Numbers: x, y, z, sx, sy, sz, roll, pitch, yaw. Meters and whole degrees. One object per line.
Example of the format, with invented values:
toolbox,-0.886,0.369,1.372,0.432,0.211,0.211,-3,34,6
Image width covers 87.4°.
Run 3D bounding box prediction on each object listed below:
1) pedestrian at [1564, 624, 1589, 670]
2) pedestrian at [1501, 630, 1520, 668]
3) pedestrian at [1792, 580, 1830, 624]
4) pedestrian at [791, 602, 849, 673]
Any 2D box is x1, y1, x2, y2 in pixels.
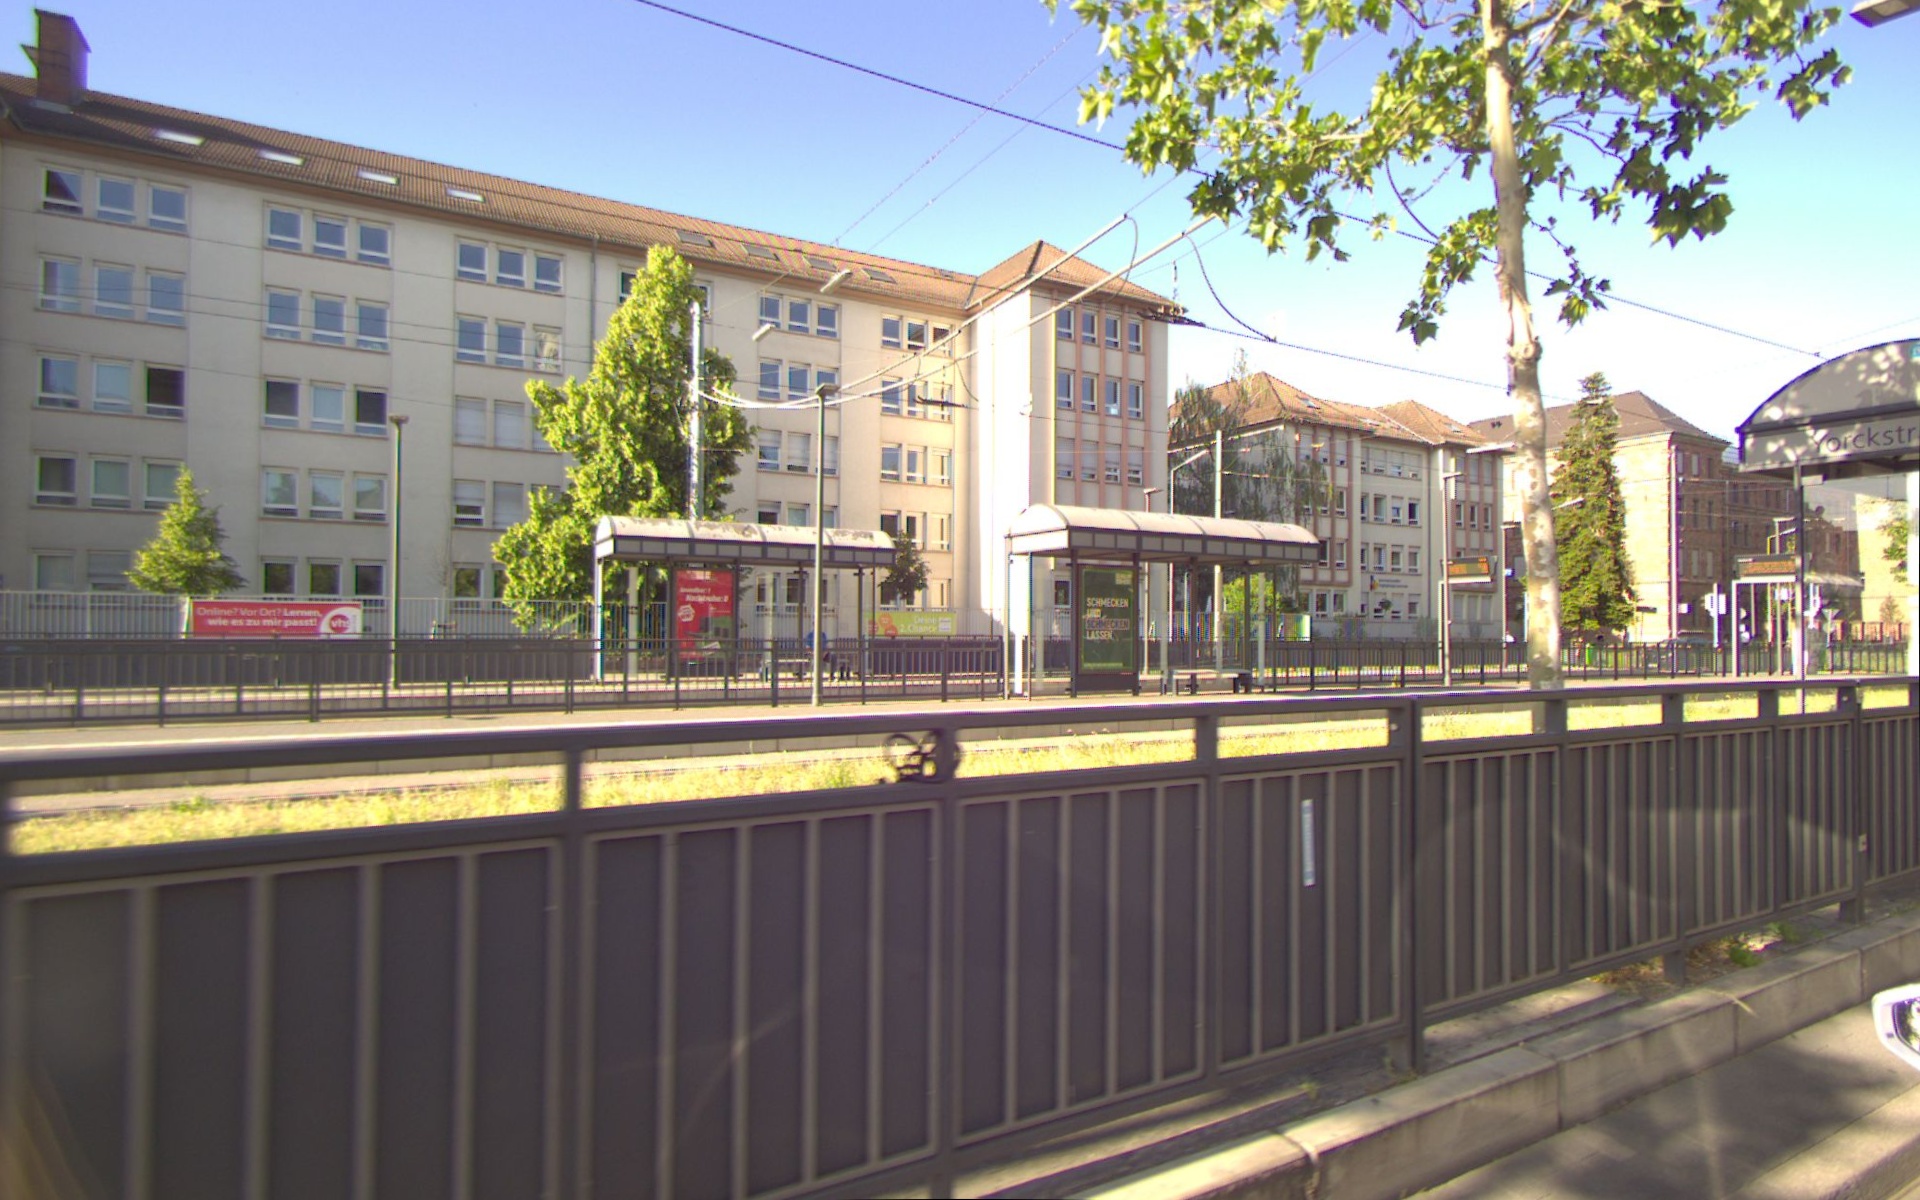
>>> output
pedestrian,28.053,2.126,45.701,0.850,2.040,0.659,1,-1,-30
pedestrian,27.865,2.475,50.847,0.566,1.861,0.689,1,-1,-30
pedestrian,34.084,0.097,40.234,0.720,1.759,0.950,1,-1,-27
pedestrian,-2.858,0.758,20.478,0.869,1.394,0.970,1,-1,-30
